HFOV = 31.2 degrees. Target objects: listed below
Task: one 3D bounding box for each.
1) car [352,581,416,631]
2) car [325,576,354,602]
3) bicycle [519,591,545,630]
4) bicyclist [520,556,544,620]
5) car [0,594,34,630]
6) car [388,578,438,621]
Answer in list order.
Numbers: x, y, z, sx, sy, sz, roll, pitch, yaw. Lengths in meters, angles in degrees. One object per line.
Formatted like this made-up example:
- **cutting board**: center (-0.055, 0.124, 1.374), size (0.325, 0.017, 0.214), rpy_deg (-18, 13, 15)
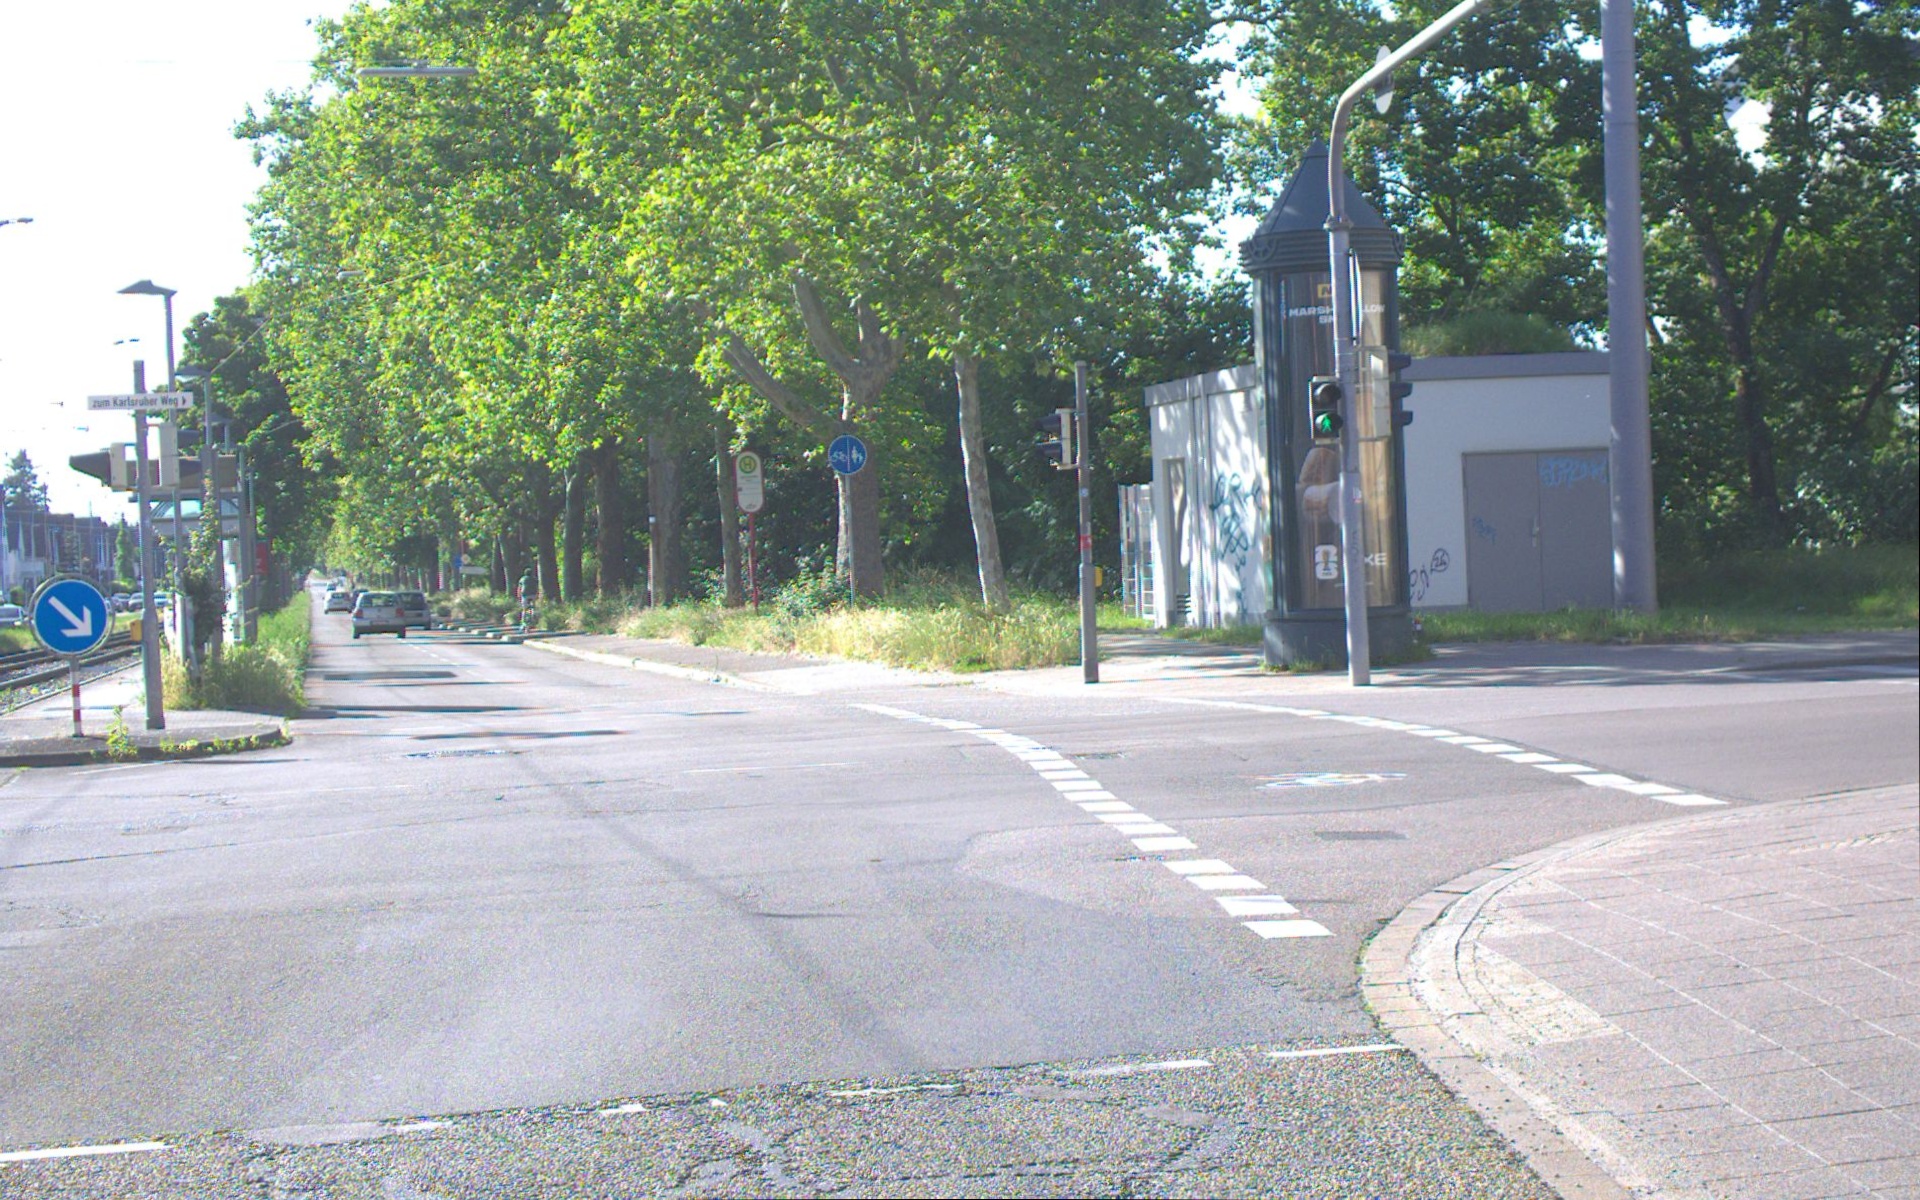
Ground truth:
- **car**: center (-17.885, 0.185, 106.718), size (1.867, 1.481, 3.556), rpy_deg (-2, 0, -10)
- **car**: center (-40.724, -0.723, 225.676), size (1.750, 1.599, 3.581), rpy_deg (-3, 1, -11)
- **bicycle**: center (-12.042, 0.287, 96.710), size (0.536, 1.062, 1.434), rpy_deg (-3, 1, -12)
- **bicyclist**: center (-12.035, -0.335, 96.725), size (0.534, 1.763, 0.713), rpy_deg (-3, 1, -12)
- **car**: center (-40.759, 0.517, 146.880), size (1.993, 1.464, 4.377), rpy_deg (-2, 1, -12)
- **car**: center (-21.119, -0.029, 132.612), size (1.750, 1.599, 3.751), rpy_deg (-2, 1, -10)
